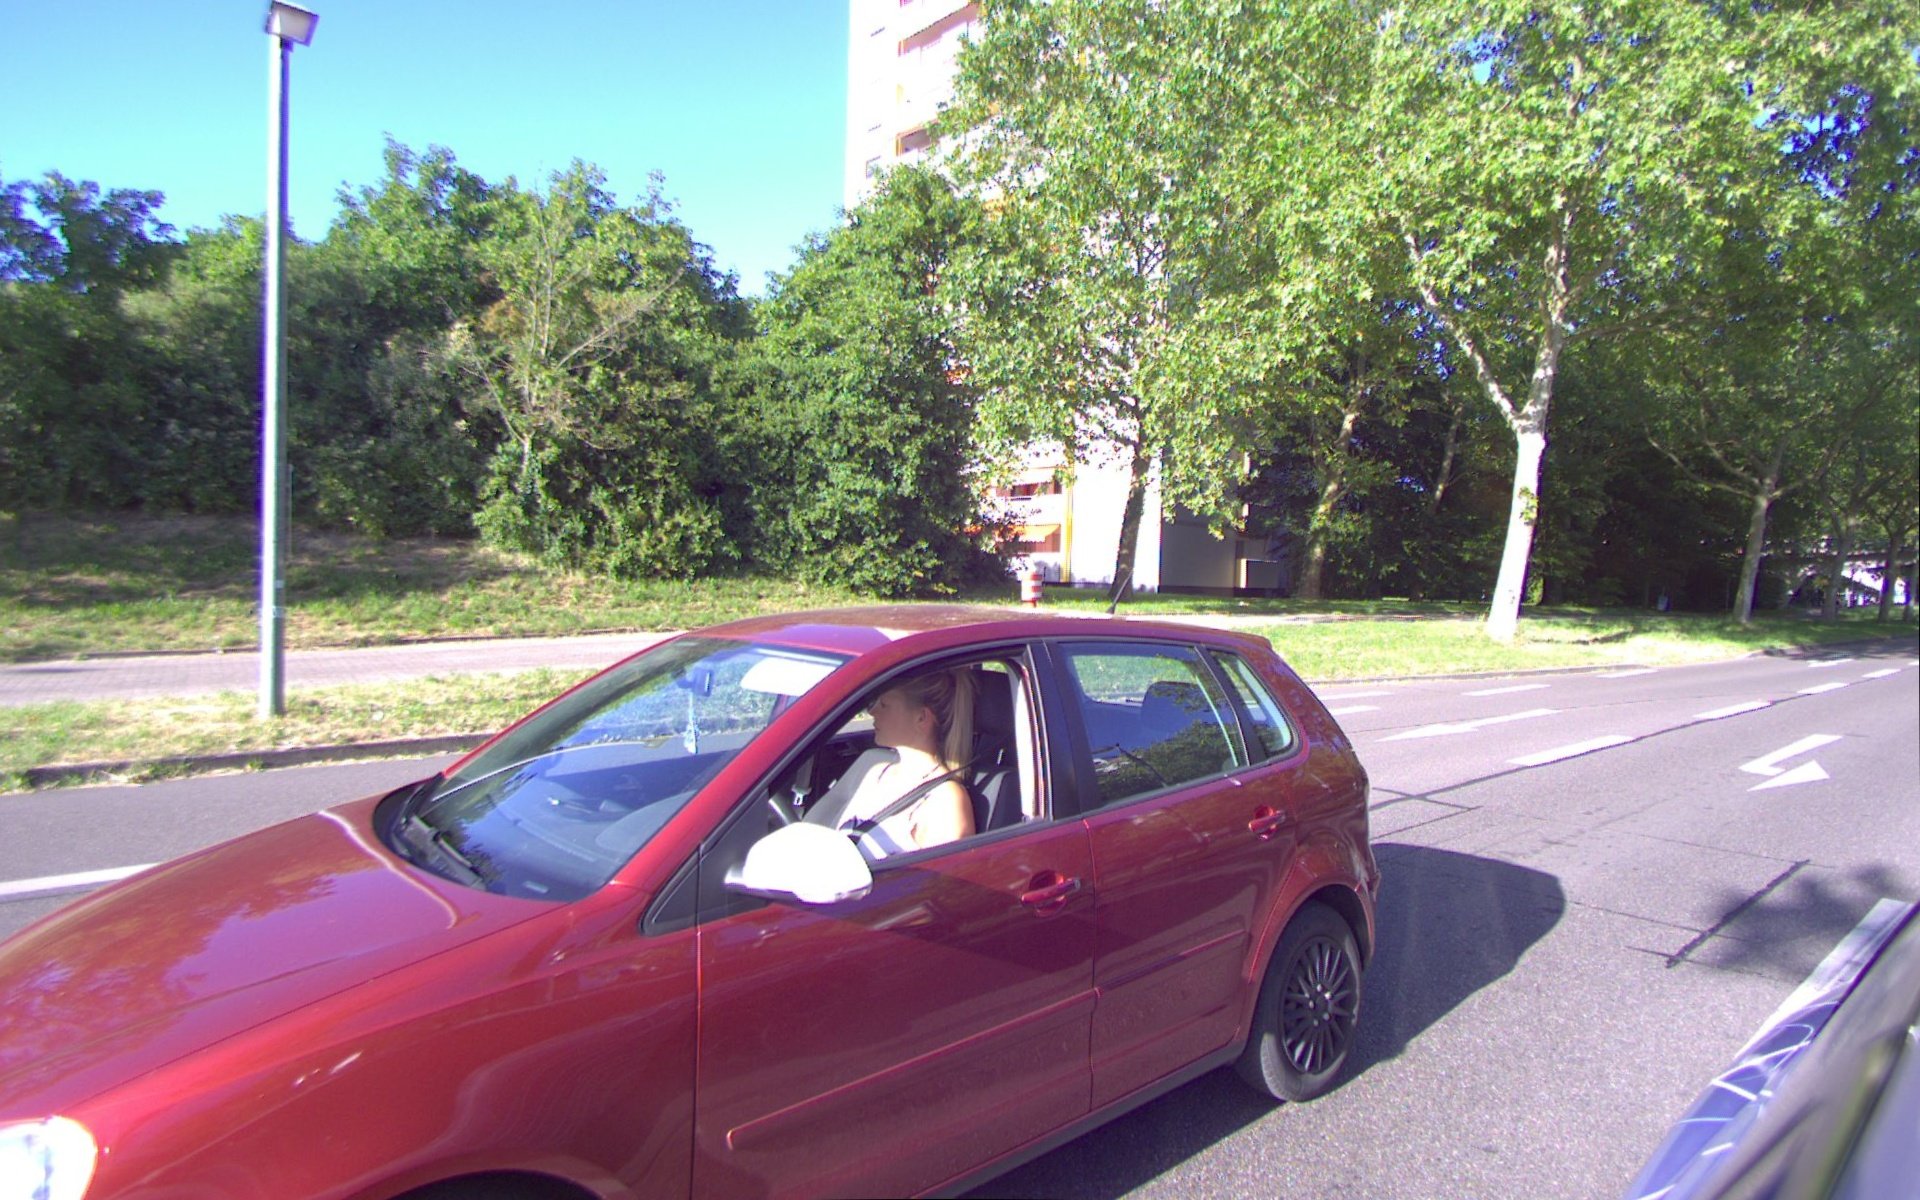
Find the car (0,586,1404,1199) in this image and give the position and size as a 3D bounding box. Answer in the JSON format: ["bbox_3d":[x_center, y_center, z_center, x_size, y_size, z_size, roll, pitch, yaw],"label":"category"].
[{"bbox_3d":[-0.446,0.708,2.725,3.624,1.479,1.579,-1,0,-40],"label":"car"}]
